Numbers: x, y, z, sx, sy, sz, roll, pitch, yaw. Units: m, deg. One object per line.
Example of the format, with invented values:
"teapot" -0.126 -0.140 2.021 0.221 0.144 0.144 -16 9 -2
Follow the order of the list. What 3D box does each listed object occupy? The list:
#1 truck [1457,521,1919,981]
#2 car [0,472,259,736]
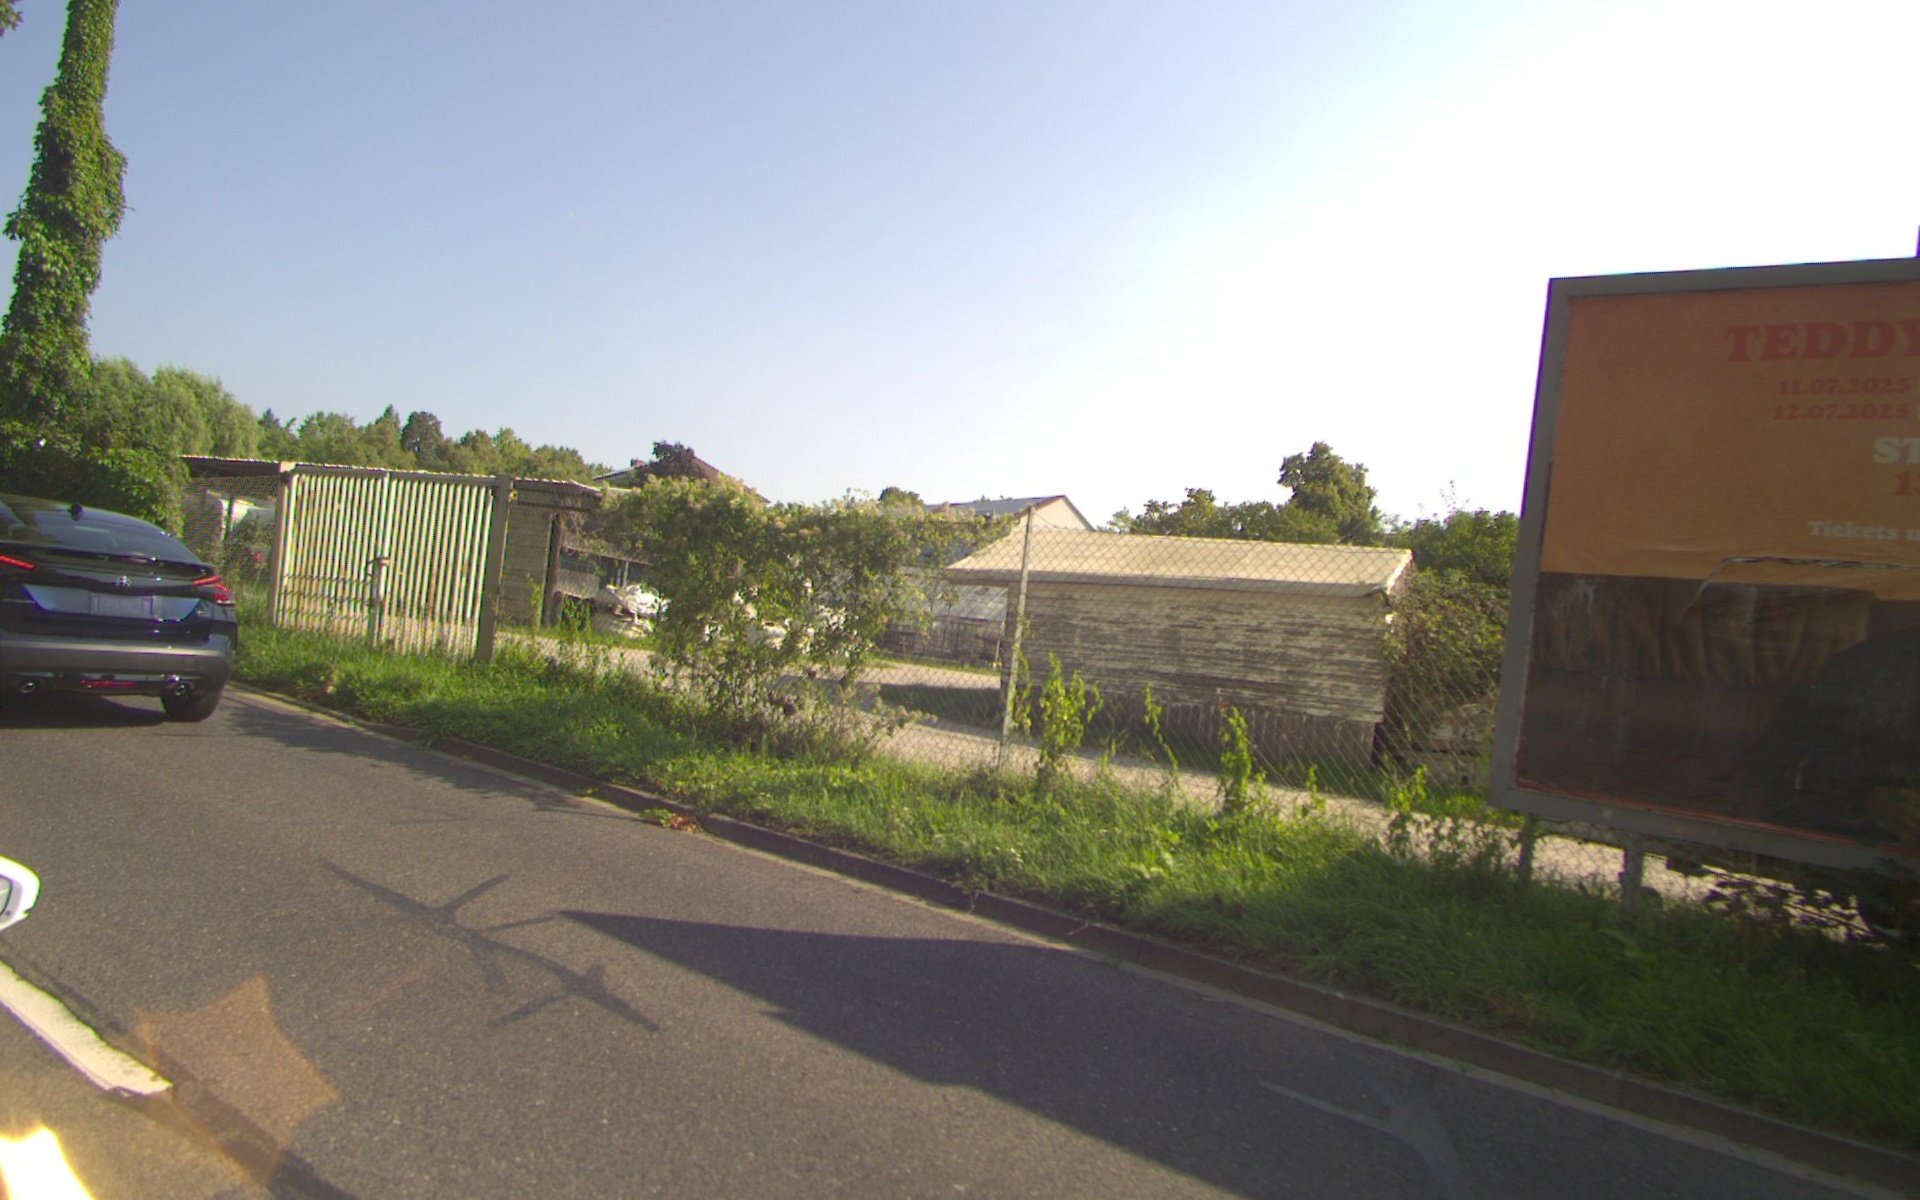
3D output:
"truck" 6.586 1.041 5.282 6.799 2.258 1.918 6 -2 32
"car" -7.339 -0.106 7.678 4.185 1.607 1.648 6 -1 32
